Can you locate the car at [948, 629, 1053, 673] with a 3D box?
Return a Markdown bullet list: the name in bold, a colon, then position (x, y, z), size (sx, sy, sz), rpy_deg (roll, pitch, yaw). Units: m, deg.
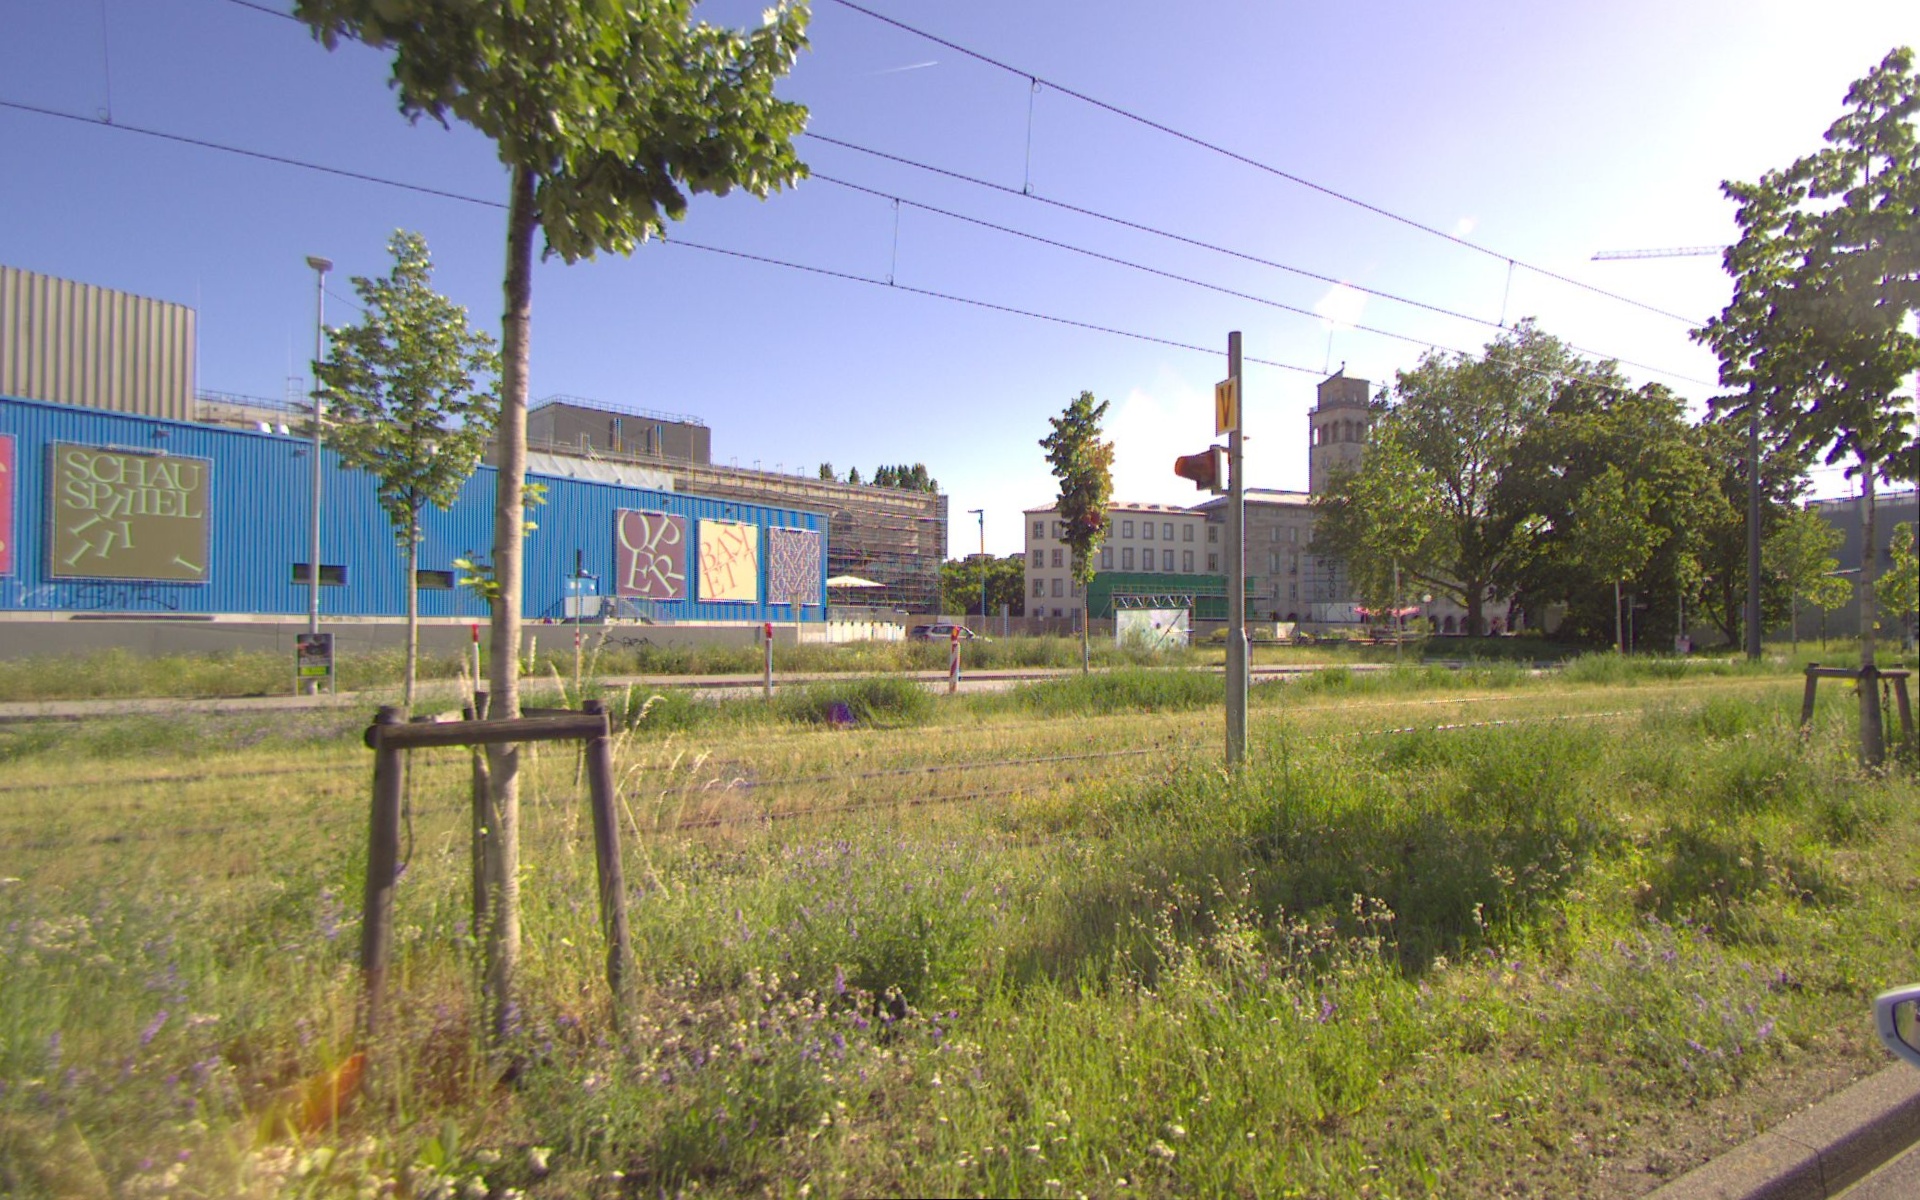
- **car**: position (1.588, 1.965, 38.839), size (3.813, 1.556, 1.550), rpy_deg (2, 0, -30)
